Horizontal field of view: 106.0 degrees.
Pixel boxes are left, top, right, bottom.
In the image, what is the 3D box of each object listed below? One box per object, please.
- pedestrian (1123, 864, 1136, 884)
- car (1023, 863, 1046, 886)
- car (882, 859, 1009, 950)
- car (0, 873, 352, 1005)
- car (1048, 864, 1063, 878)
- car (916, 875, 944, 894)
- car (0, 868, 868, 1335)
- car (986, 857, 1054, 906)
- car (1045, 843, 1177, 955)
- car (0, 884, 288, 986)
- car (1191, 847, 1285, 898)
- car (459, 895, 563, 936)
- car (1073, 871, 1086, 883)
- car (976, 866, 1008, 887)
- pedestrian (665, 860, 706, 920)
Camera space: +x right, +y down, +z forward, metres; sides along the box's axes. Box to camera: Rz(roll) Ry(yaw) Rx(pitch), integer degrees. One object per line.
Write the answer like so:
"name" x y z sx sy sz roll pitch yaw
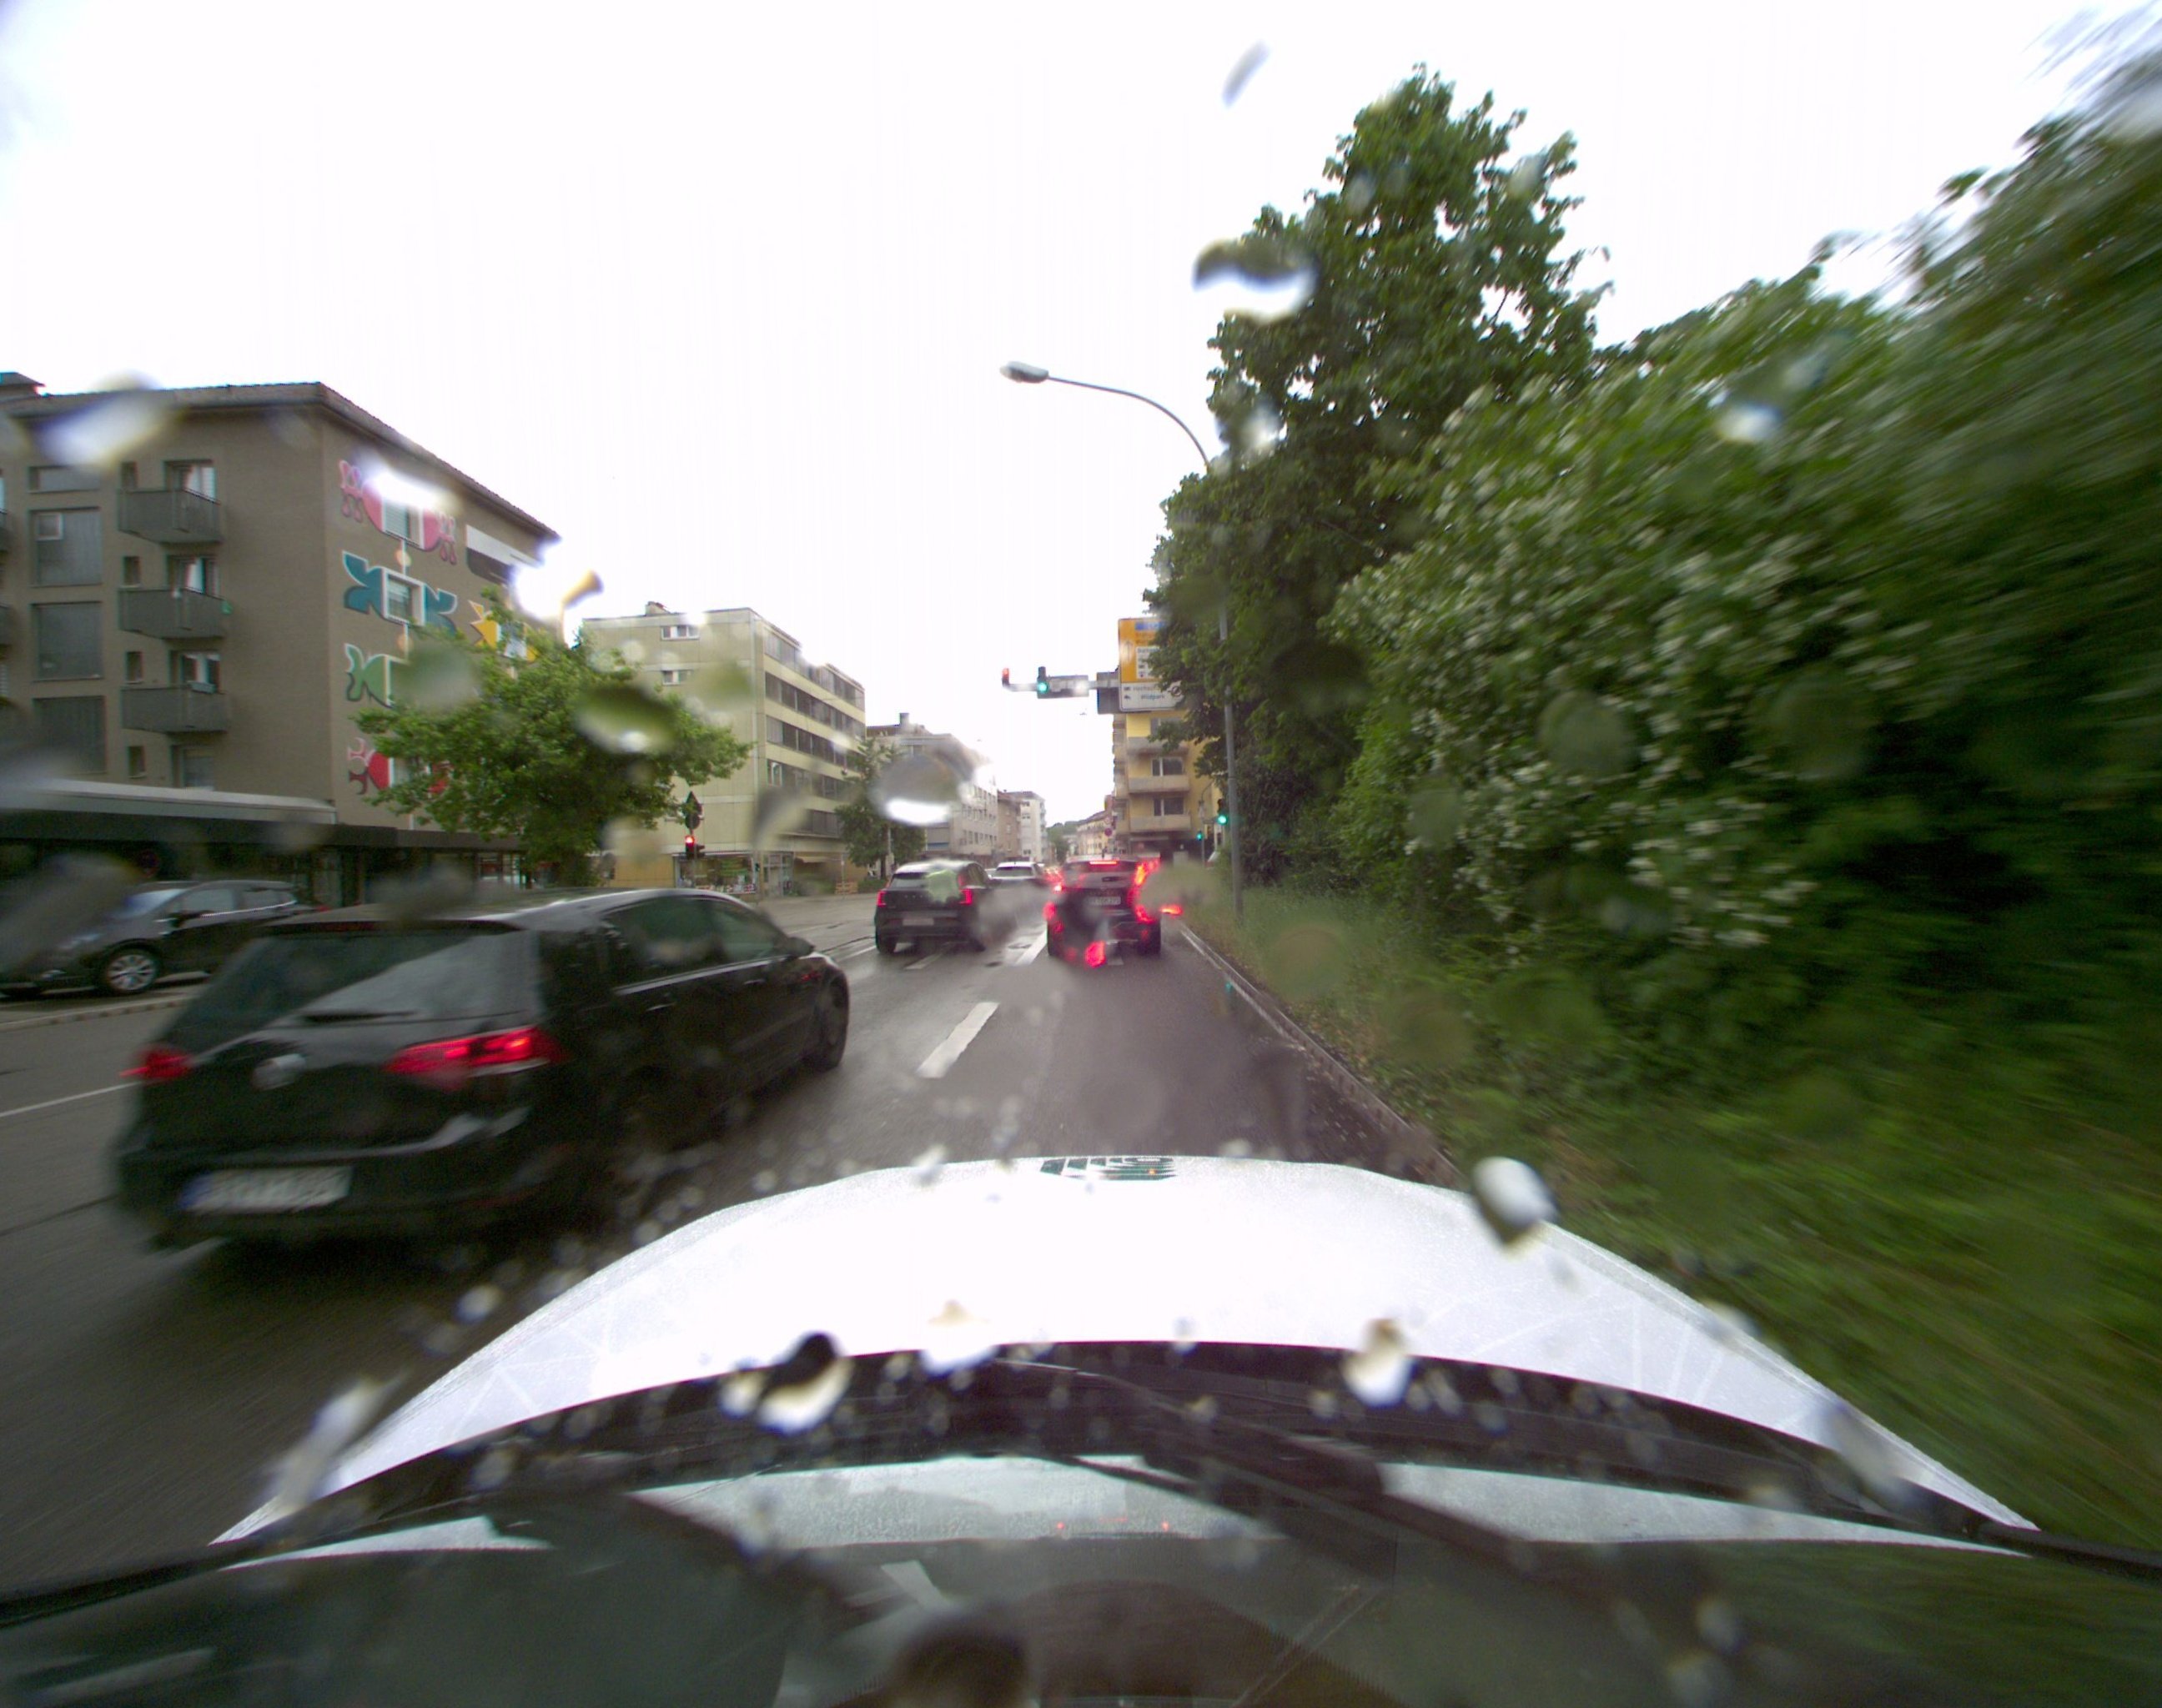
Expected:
"pedestrian" 3.910 1.607 65.959 0.832 1.558 0.833 -8 -1 0
"car" -4.020 1.735 70.843 1.774 1.816 4.403 -3 -1 -1
"car" -2.361 0.830 15.103 1.607 1.420 3.966 -1 0 1
"car" -14.512 1.206 13.150 1.533 1.706 4.289 -1 -1 2
"car" -4.010 2.633 129.362 1.903 2.013 4.002 -5 -1 2
"car" -13.128 2.679 71.132 1.667 1.478 3.607 -4 -1 0
"car" -2.710 0.861 4.724 1.749 1.453 4.001 -2 0 1
"car" -1.974 0.864 27.346 1.760 1.444 4.002 -2 0 2
"car" 0.469 0.686 14.135 1.953 1.653 4.000 0 -1 0
"car" -19.276 1.518 16.468 1.987 1.655 4.511 -2 -1 1
"car" 6.857 0.786 35.352 4.022 2.014 1.976 -2 -1 -43
"car" -33.125 3.562 47.465 4.426 1.920 2.031 -5 -1 -4
"car" -0.328 4.123 148.191 1.985 2.013 4.003 -4 -1 3
"car" -7.251 1.818 66.452 1.771 1.478 3.797 -5 -1 4
"pedestrian" -13.727 1.235 28.270 0.939 2.014 0.884 -3 -1 -8
